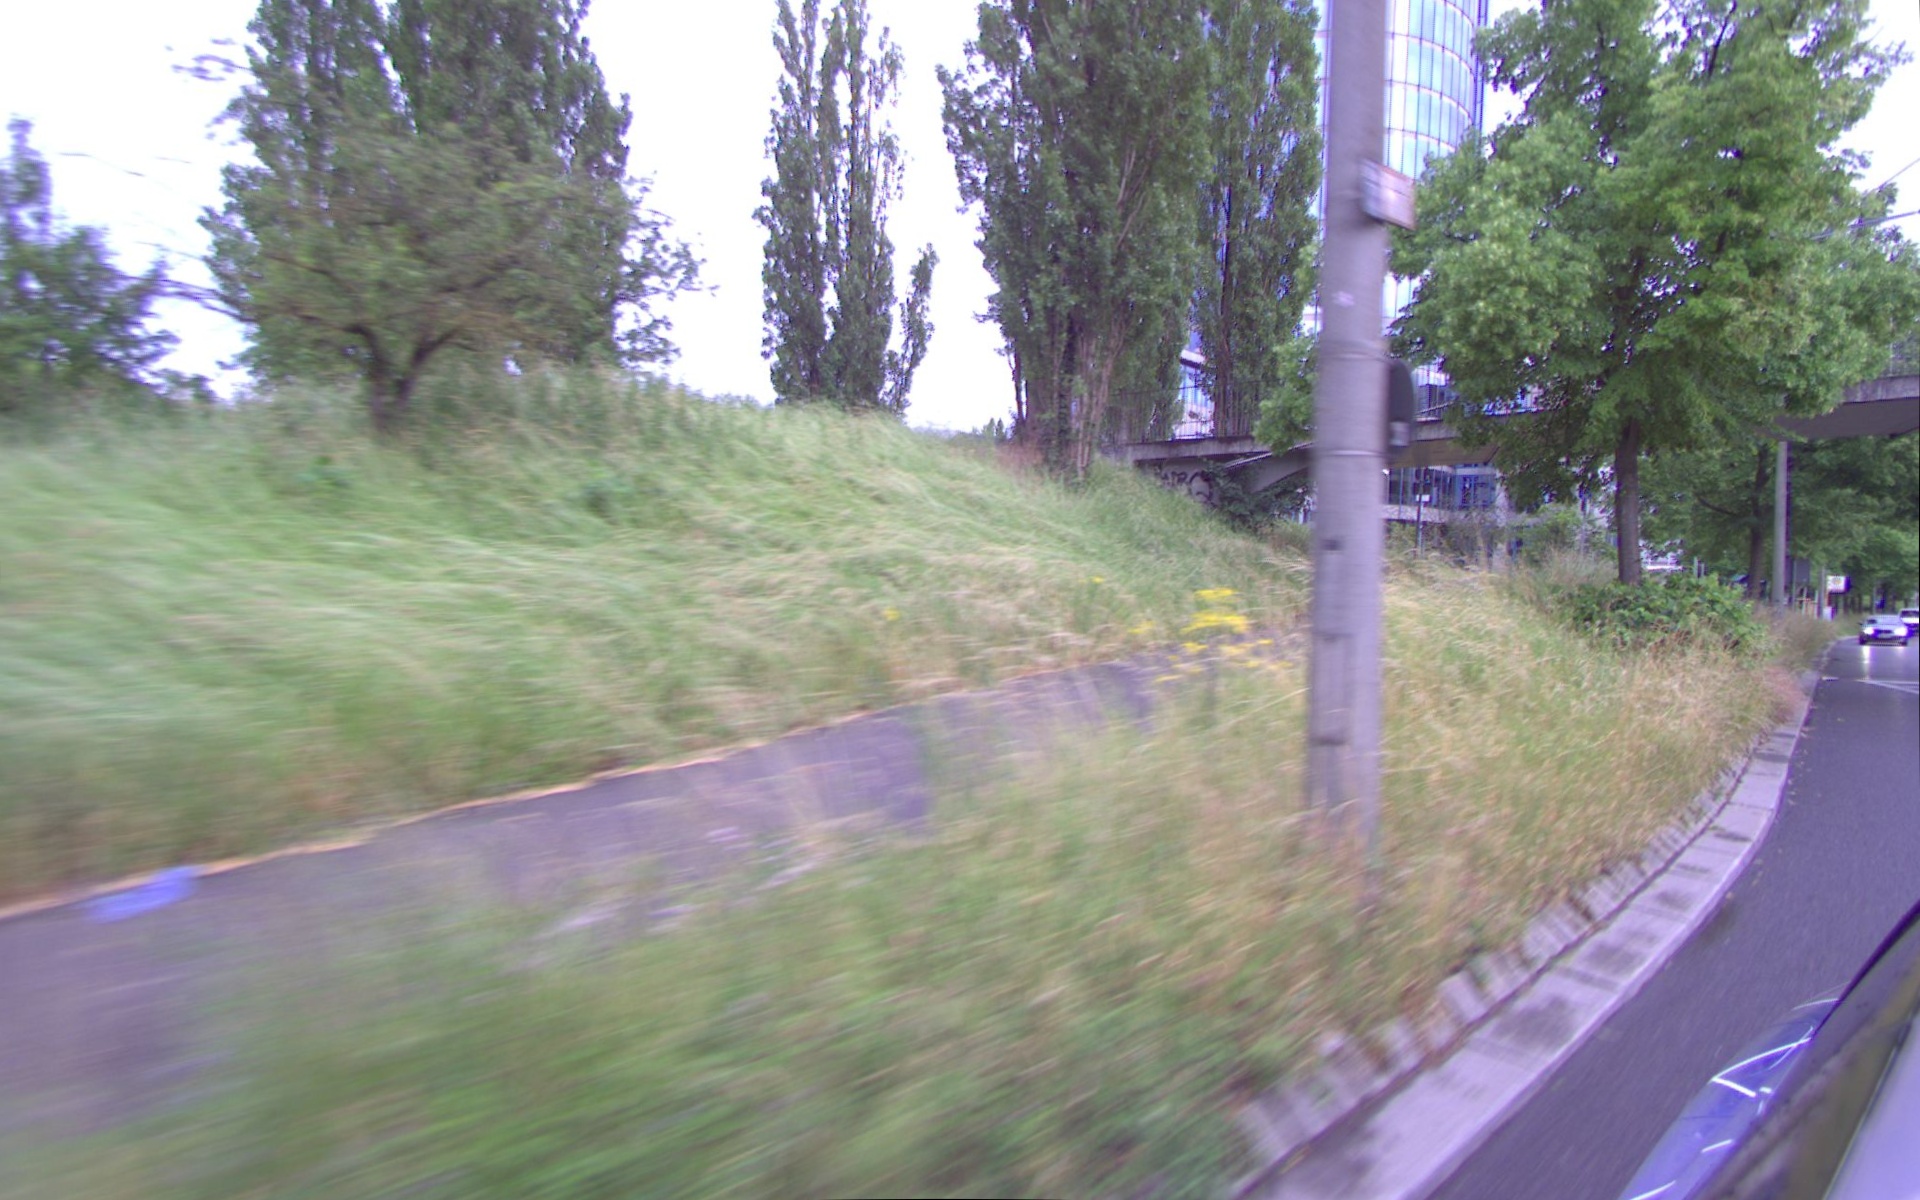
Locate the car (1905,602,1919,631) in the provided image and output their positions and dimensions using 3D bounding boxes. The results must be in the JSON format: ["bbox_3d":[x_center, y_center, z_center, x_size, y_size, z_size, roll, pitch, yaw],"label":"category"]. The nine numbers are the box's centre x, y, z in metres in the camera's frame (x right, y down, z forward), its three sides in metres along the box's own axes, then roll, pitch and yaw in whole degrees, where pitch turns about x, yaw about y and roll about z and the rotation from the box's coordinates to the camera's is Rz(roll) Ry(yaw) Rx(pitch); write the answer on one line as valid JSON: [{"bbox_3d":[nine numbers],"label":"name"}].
[{"bbox_3d":[67.327,1.105,70.442,4.764,1.950,1.957,0,0,-43],"label":"car"}]

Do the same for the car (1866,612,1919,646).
[{"bbox_3d":[44.028,1.318,47.574,1.956,1.497,4.623,0,0,45],"label":"car"}]
